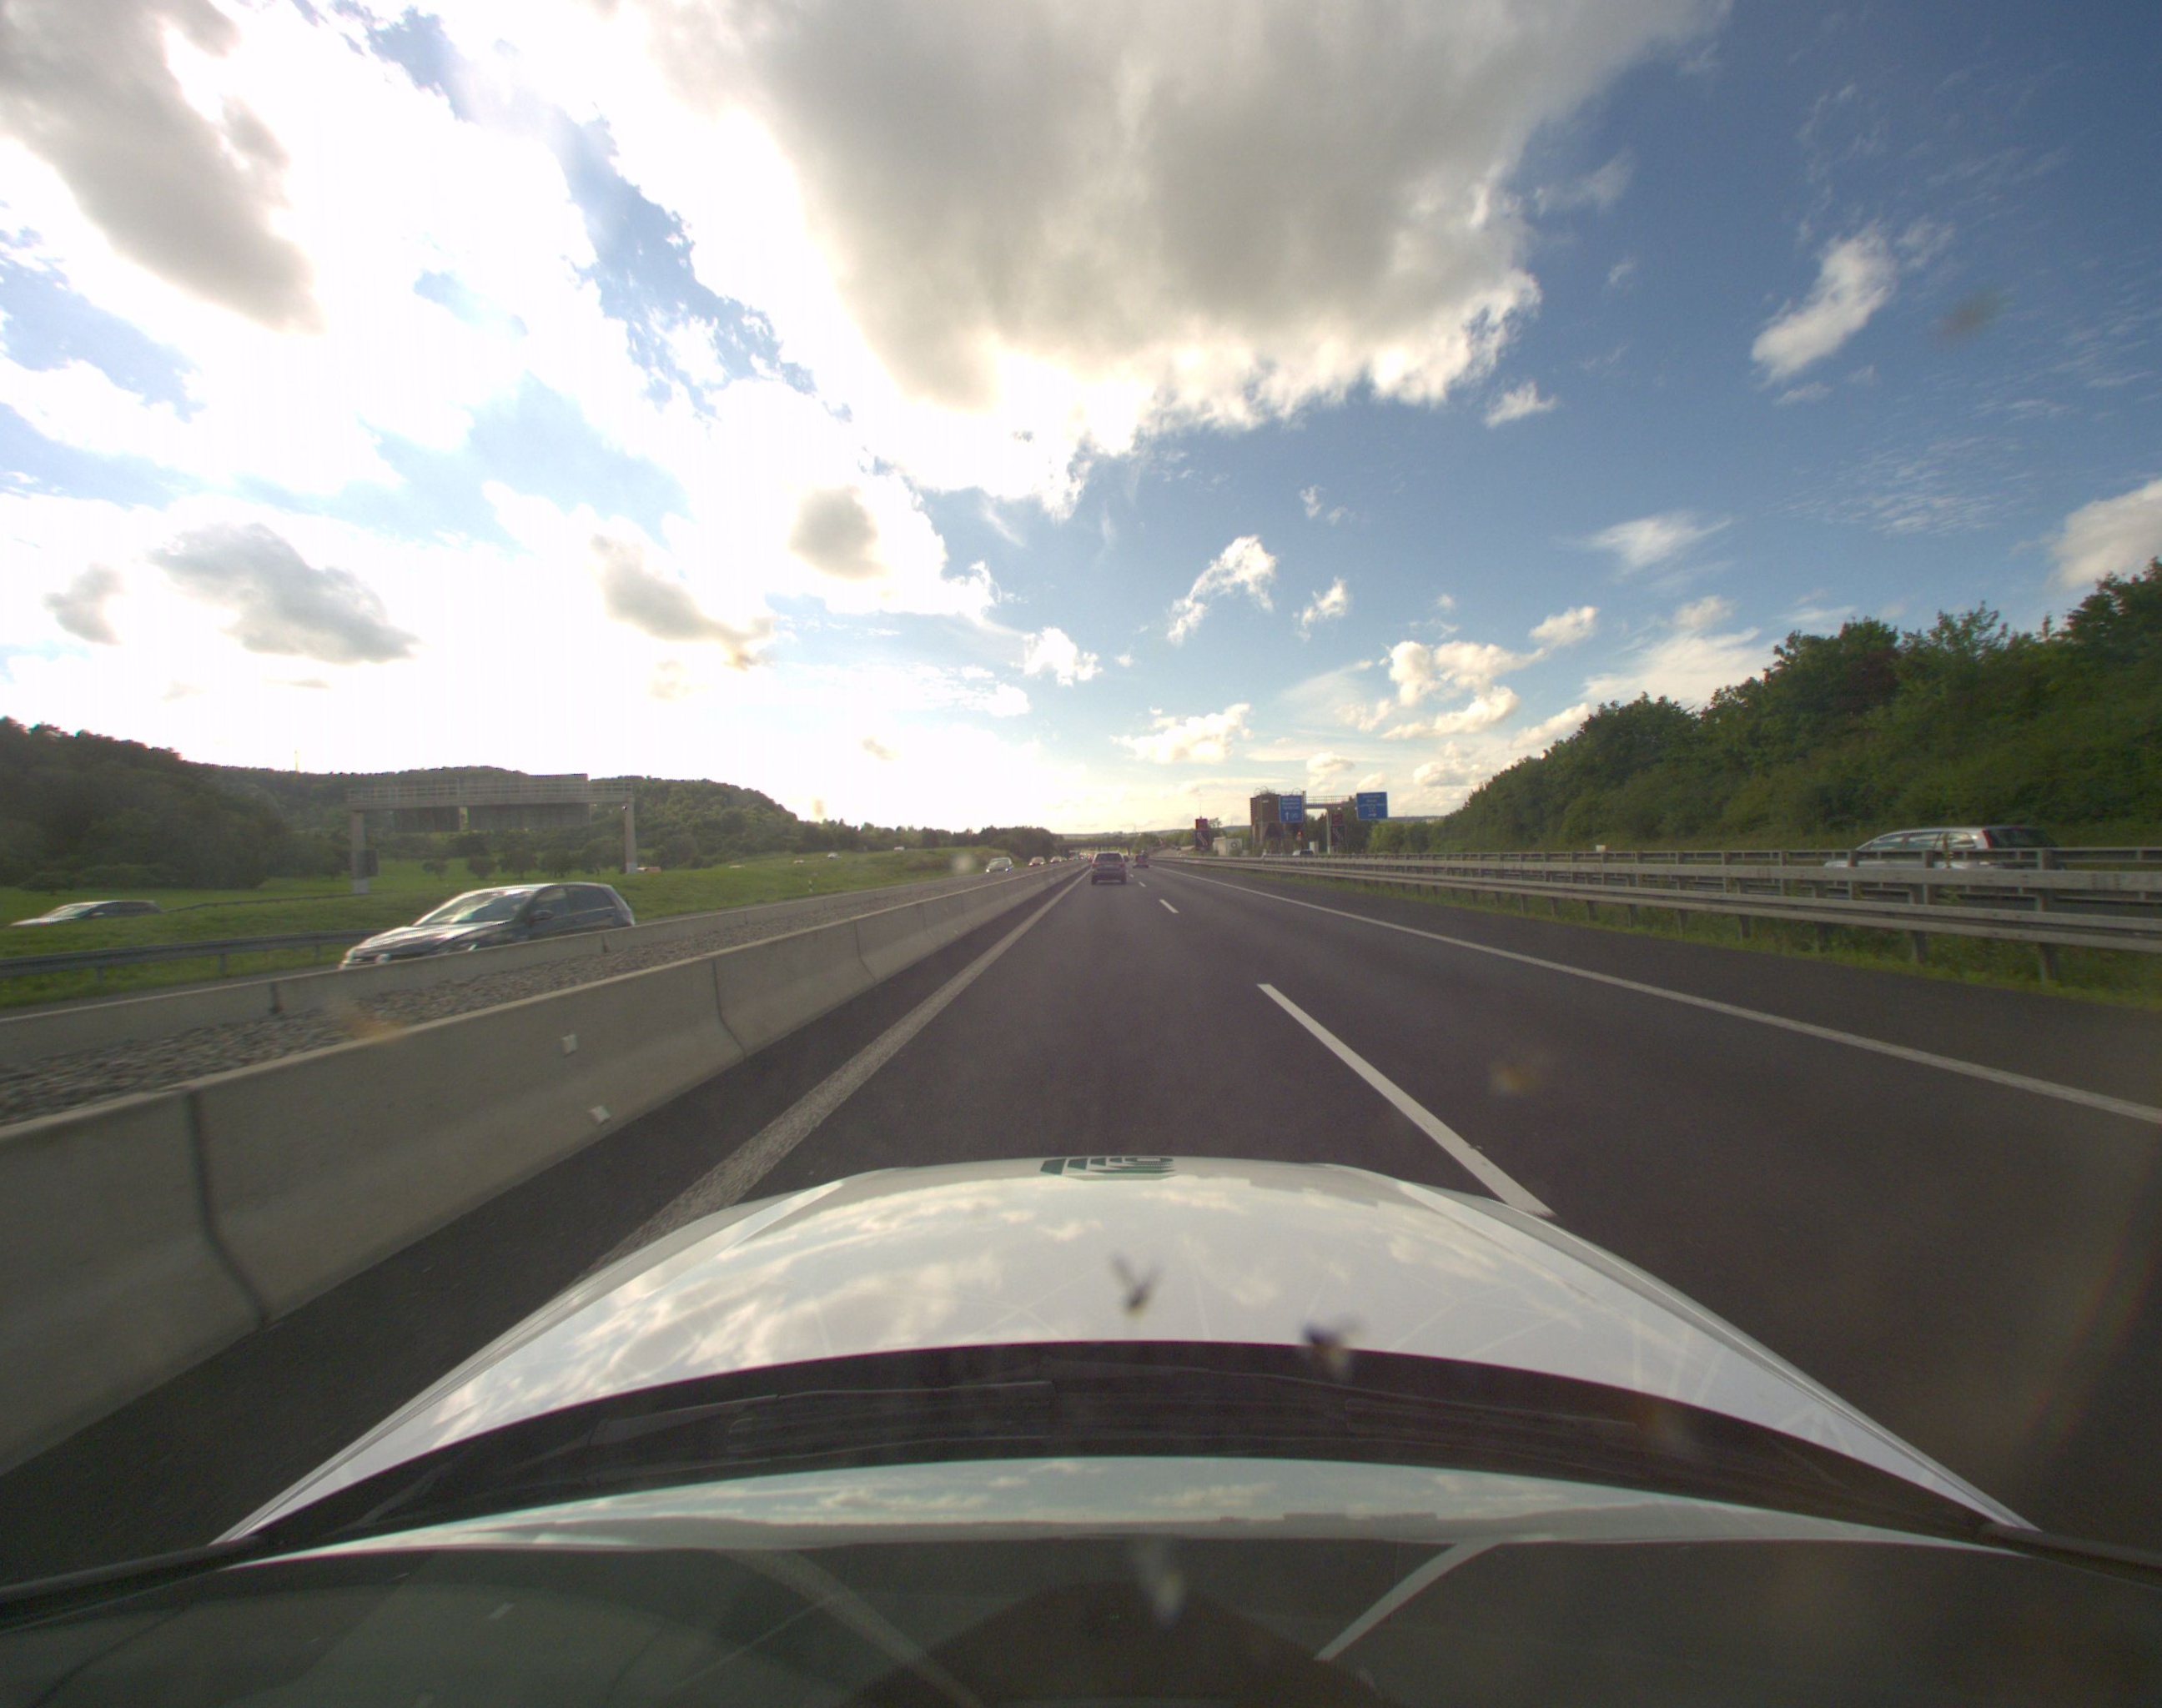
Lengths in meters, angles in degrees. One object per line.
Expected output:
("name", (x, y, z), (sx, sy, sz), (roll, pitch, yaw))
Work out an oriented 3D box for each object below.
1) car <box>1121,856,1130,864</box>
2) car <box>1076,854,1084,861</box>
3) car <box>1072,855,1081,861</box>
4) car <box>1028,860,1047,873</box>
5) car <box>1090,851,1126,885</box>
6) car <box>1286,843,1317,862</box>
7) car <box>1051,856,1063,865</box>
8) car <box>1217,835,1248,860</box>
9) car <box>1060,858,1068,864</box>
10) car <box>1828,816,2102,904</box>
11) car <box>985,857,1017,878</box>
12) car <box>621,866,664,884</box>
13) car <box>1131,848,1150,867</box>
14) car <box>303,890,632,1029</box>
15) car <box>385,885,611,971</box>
("car", (10.674, 1.408, 194.245), (1.967, 1.779, 4.122), (-3, 0, 2))
("car", (-0.171, 0.993, 247.428), (1.985, 2.013, 5.845), (-3, 0, 3))
("car", (-1.220, 1.000, 222.055), (1.985, 1.573, 5.369), (-3, 0, 3))
("car", (-5.333, 1.514, 99.957), (1.781, 1.398, 4.801), (-3, 0, 2))
("car", (1.501, 0.721, 43.570), (1.742, 1.630, 3.612), (-3, 0, 3))
("car", (21.249, -0.149, 78.613), (1.986, 1.717, 4.002), (-3, 0, 2))
("car", (-4.148, 1.093, 140.691), (1.781, 1.398, 4.625), (-3, 0, 2))
("car", (23.892, -0.961, 129.152), (3.563, 3.676, 7.552), (-3, 0, 2))
("car", (-4.792, 2.023, 229.093), (1.985, 1.478, 4.695), (-3, 0, 3))
("car", (20.068, 0.134, 18.798), (1.986, 1.708, 4.002), (-3, 0, 2))
("car", (-6.060, 1.009, 62.091), (1.781, 1.398, 4.727), (-3, 0, 2))
("car", (-43.117, 2.054, 80.252), (1.769, 1.548, 4.884), (-3, 0, -3))
("car", (6.767, 0.384, 92.969), (1.986, 2.081, 4.002), (-3, 0, 2))
("car", (-8.256, 1.320, 11.449), (1.635, 1.398, 3.743), (-3, 0, 2))
("car", (-12.321, 1.487, 17.614), (1.721, 1.398, 4.160), (-3, 0, 2))
